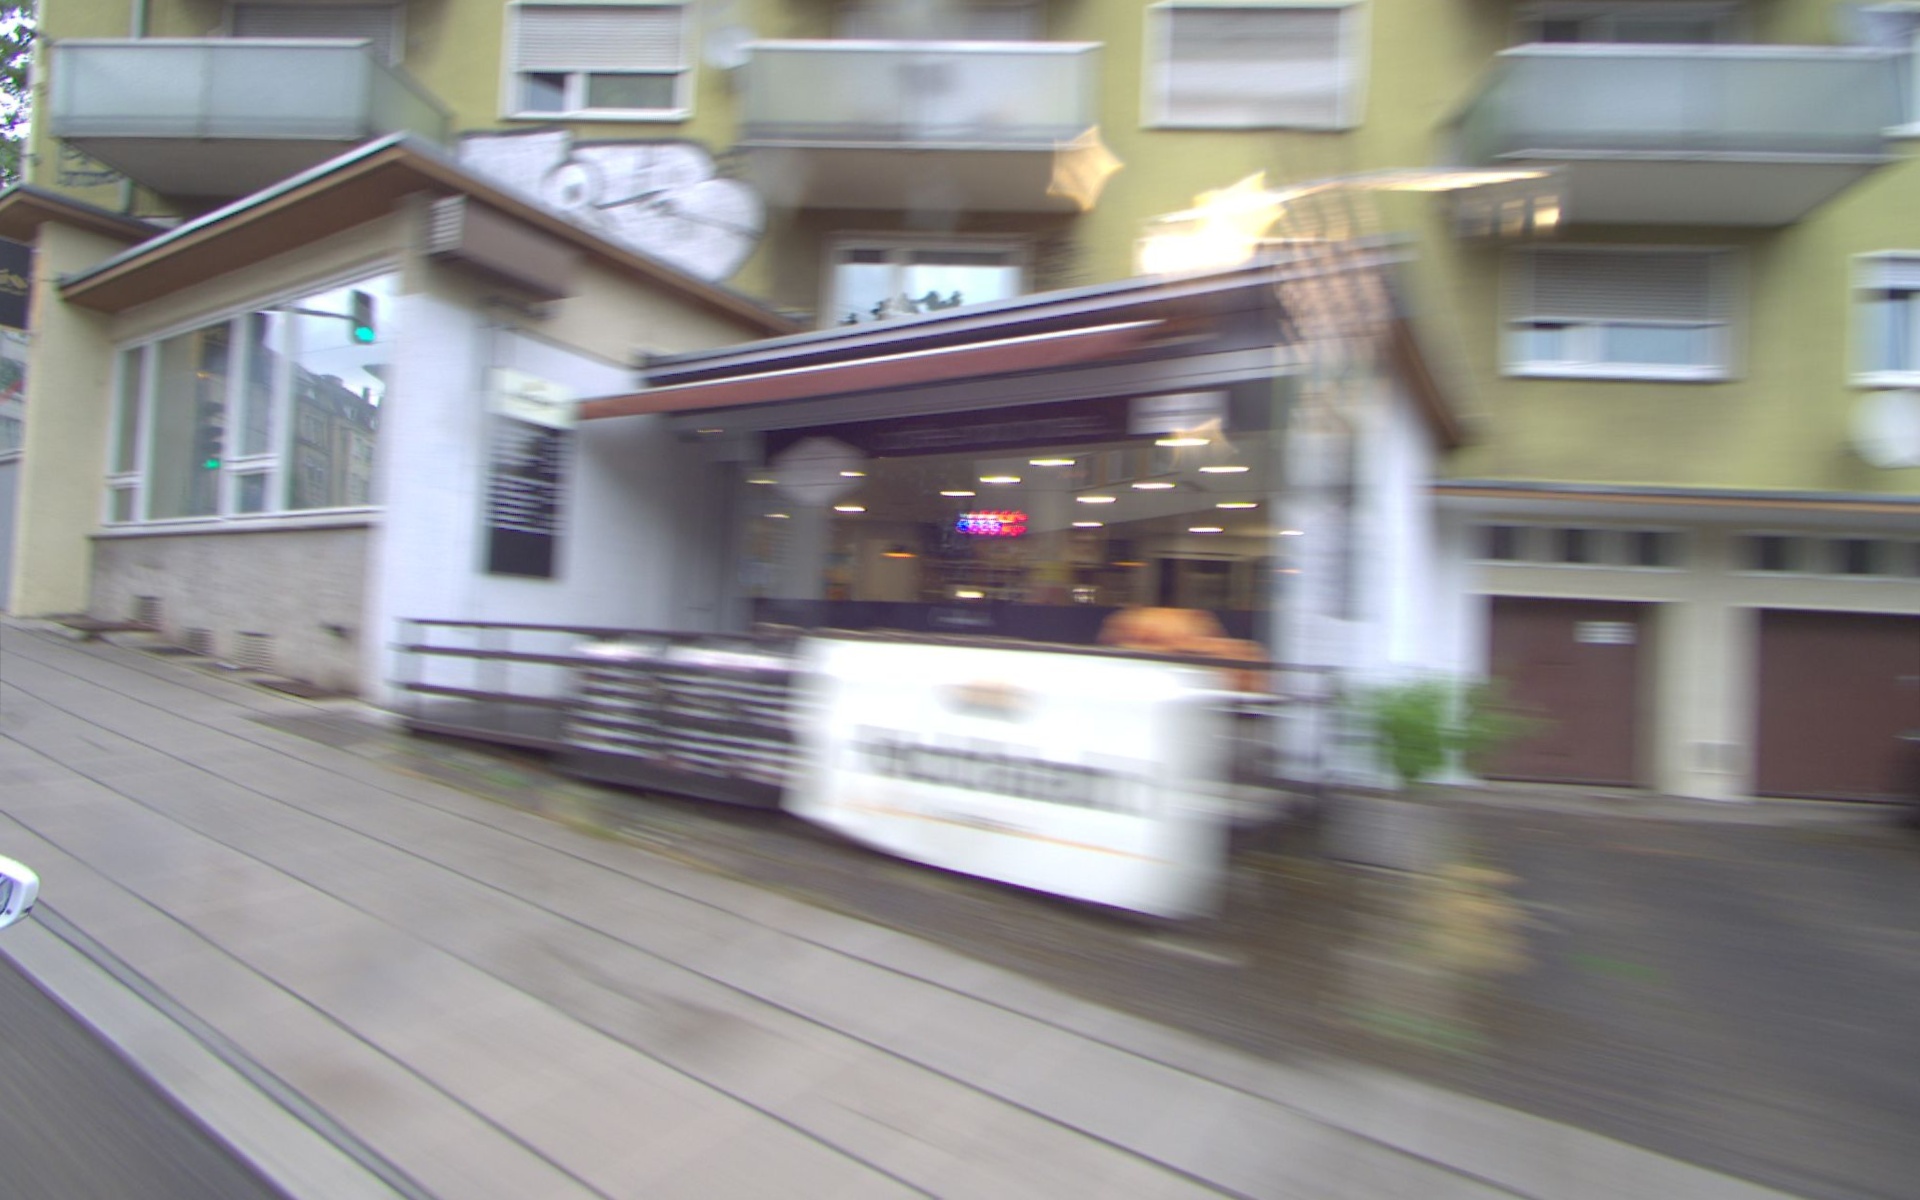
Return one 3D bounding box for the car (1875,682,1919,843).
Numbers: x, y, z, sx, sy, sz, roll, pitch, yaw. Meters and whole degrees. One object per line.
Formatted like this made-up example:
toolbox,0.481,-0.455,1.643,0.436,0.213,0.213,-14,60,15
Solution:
car,9.298,1.515,8.365,1.753,1.418,4.512,3,-1,34
